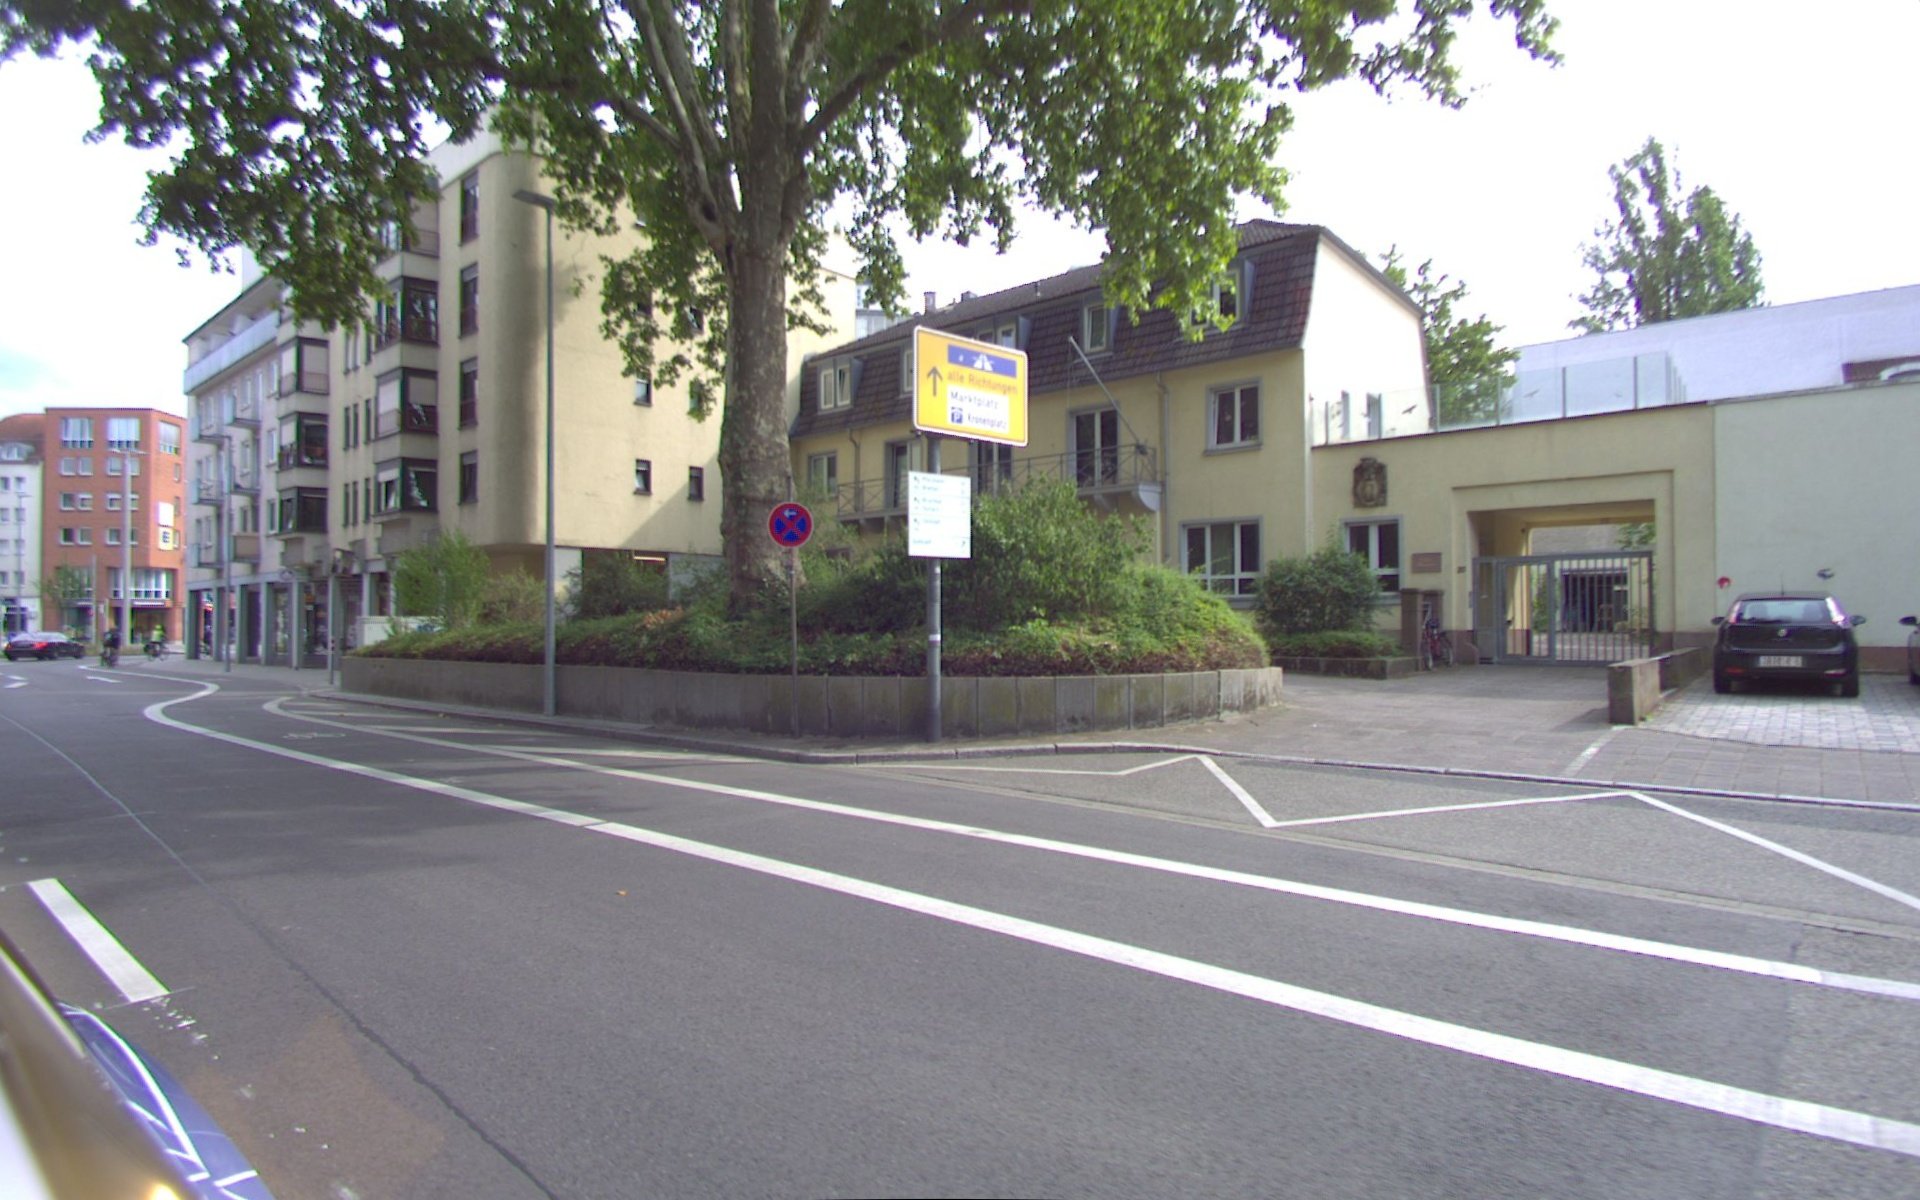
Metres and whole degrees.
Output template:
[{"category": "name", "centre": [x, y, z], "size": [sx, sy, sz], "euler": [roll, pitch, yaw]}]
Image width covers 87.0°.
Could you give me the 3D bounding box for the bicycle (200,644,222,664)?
[{"category": "bicycle", "centre": [-41.514, 2.992, 56.107], "size": [0.729, 1.014, 1.910], "euler": [1, 0, -44]}]

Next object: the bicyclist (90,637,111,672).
[{"category": "bicyclist", "centre": [-39.205, 2.477, 46.136], "size": [0.649, 1.537, 0.857], "euler": [-1, -3, -45]}]

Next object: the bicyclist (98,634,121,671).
[{"category": "bicyclist", "centre": [-36.485, 2.257, 43.430], "size": [0.649, 1.537, 1.077], "euler": [-1, -2, -45]}]

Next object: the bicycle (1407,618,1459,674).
[{"category": "bicycle", "centre": [9.692, 0.931, 20.711], "size": [0.399, 1.052, 1.779], "euler": [-4, -2, 42]}]

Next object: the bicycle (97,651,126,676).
[{"category": "bicycle", "centre": [-36.270, 2.724, 43.250], "size": [2.196, 1.014, 0.729], "euler": [-4, -2, 44]}]

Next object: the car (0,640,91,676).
[{"category": "car", "centre": [-45.824, 2.940, 50.626], "size": [1.785, 1.419, 4.621], "euler": [-3, -6, -16]}]

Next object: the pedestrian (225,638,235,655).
[{"category": "pedestrian", "centre": [-75.418, 4.794, 104.518], "size": [0.631, 1.700, 0.601], "euler": [-1, -3, -4]}]

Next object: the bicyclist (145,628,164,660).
[{"category": "bicyclist", "centre": [-40.709, 2.223, 51.140], "size": [0.649, 1.537, 0.841], "euler": [-1, -3, -45]}]

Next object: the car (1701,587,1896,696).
[{"category": "car", "centre": [12.941, 0.581, 15.537], "size": [3.941, 1.431, 1.892], "euler": [-1, -2, -45]}]

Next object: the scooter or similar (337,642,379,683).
[{"category": "scooter or similar", "centre": [-18.797, 1.954, 31.580], "size": [1.161, 1.274, 0.286], "euler": [-1, -2, 4]}]

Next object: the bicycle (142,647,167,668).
[{"category": "bicycle", "centre": [-40.863, 2.932, 51.323], "size": [0.729, 1.014, 2.253], "euler": [-1, -2, -45]}]

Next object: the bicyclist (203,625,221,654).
[{"category": "bicyclist", "centre": [-41.357, 2.188, 55.917], "size": [0.649, 1.537, 1.003], "euler": [-1, 0, -45]}]

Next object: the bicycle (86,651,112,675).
[{"category": "bicycle", "centre": [-39.340, 2.880, 46.230], "size": [1.976, 1.014, 0.729], "euler": [-4, -2, 44]}]
